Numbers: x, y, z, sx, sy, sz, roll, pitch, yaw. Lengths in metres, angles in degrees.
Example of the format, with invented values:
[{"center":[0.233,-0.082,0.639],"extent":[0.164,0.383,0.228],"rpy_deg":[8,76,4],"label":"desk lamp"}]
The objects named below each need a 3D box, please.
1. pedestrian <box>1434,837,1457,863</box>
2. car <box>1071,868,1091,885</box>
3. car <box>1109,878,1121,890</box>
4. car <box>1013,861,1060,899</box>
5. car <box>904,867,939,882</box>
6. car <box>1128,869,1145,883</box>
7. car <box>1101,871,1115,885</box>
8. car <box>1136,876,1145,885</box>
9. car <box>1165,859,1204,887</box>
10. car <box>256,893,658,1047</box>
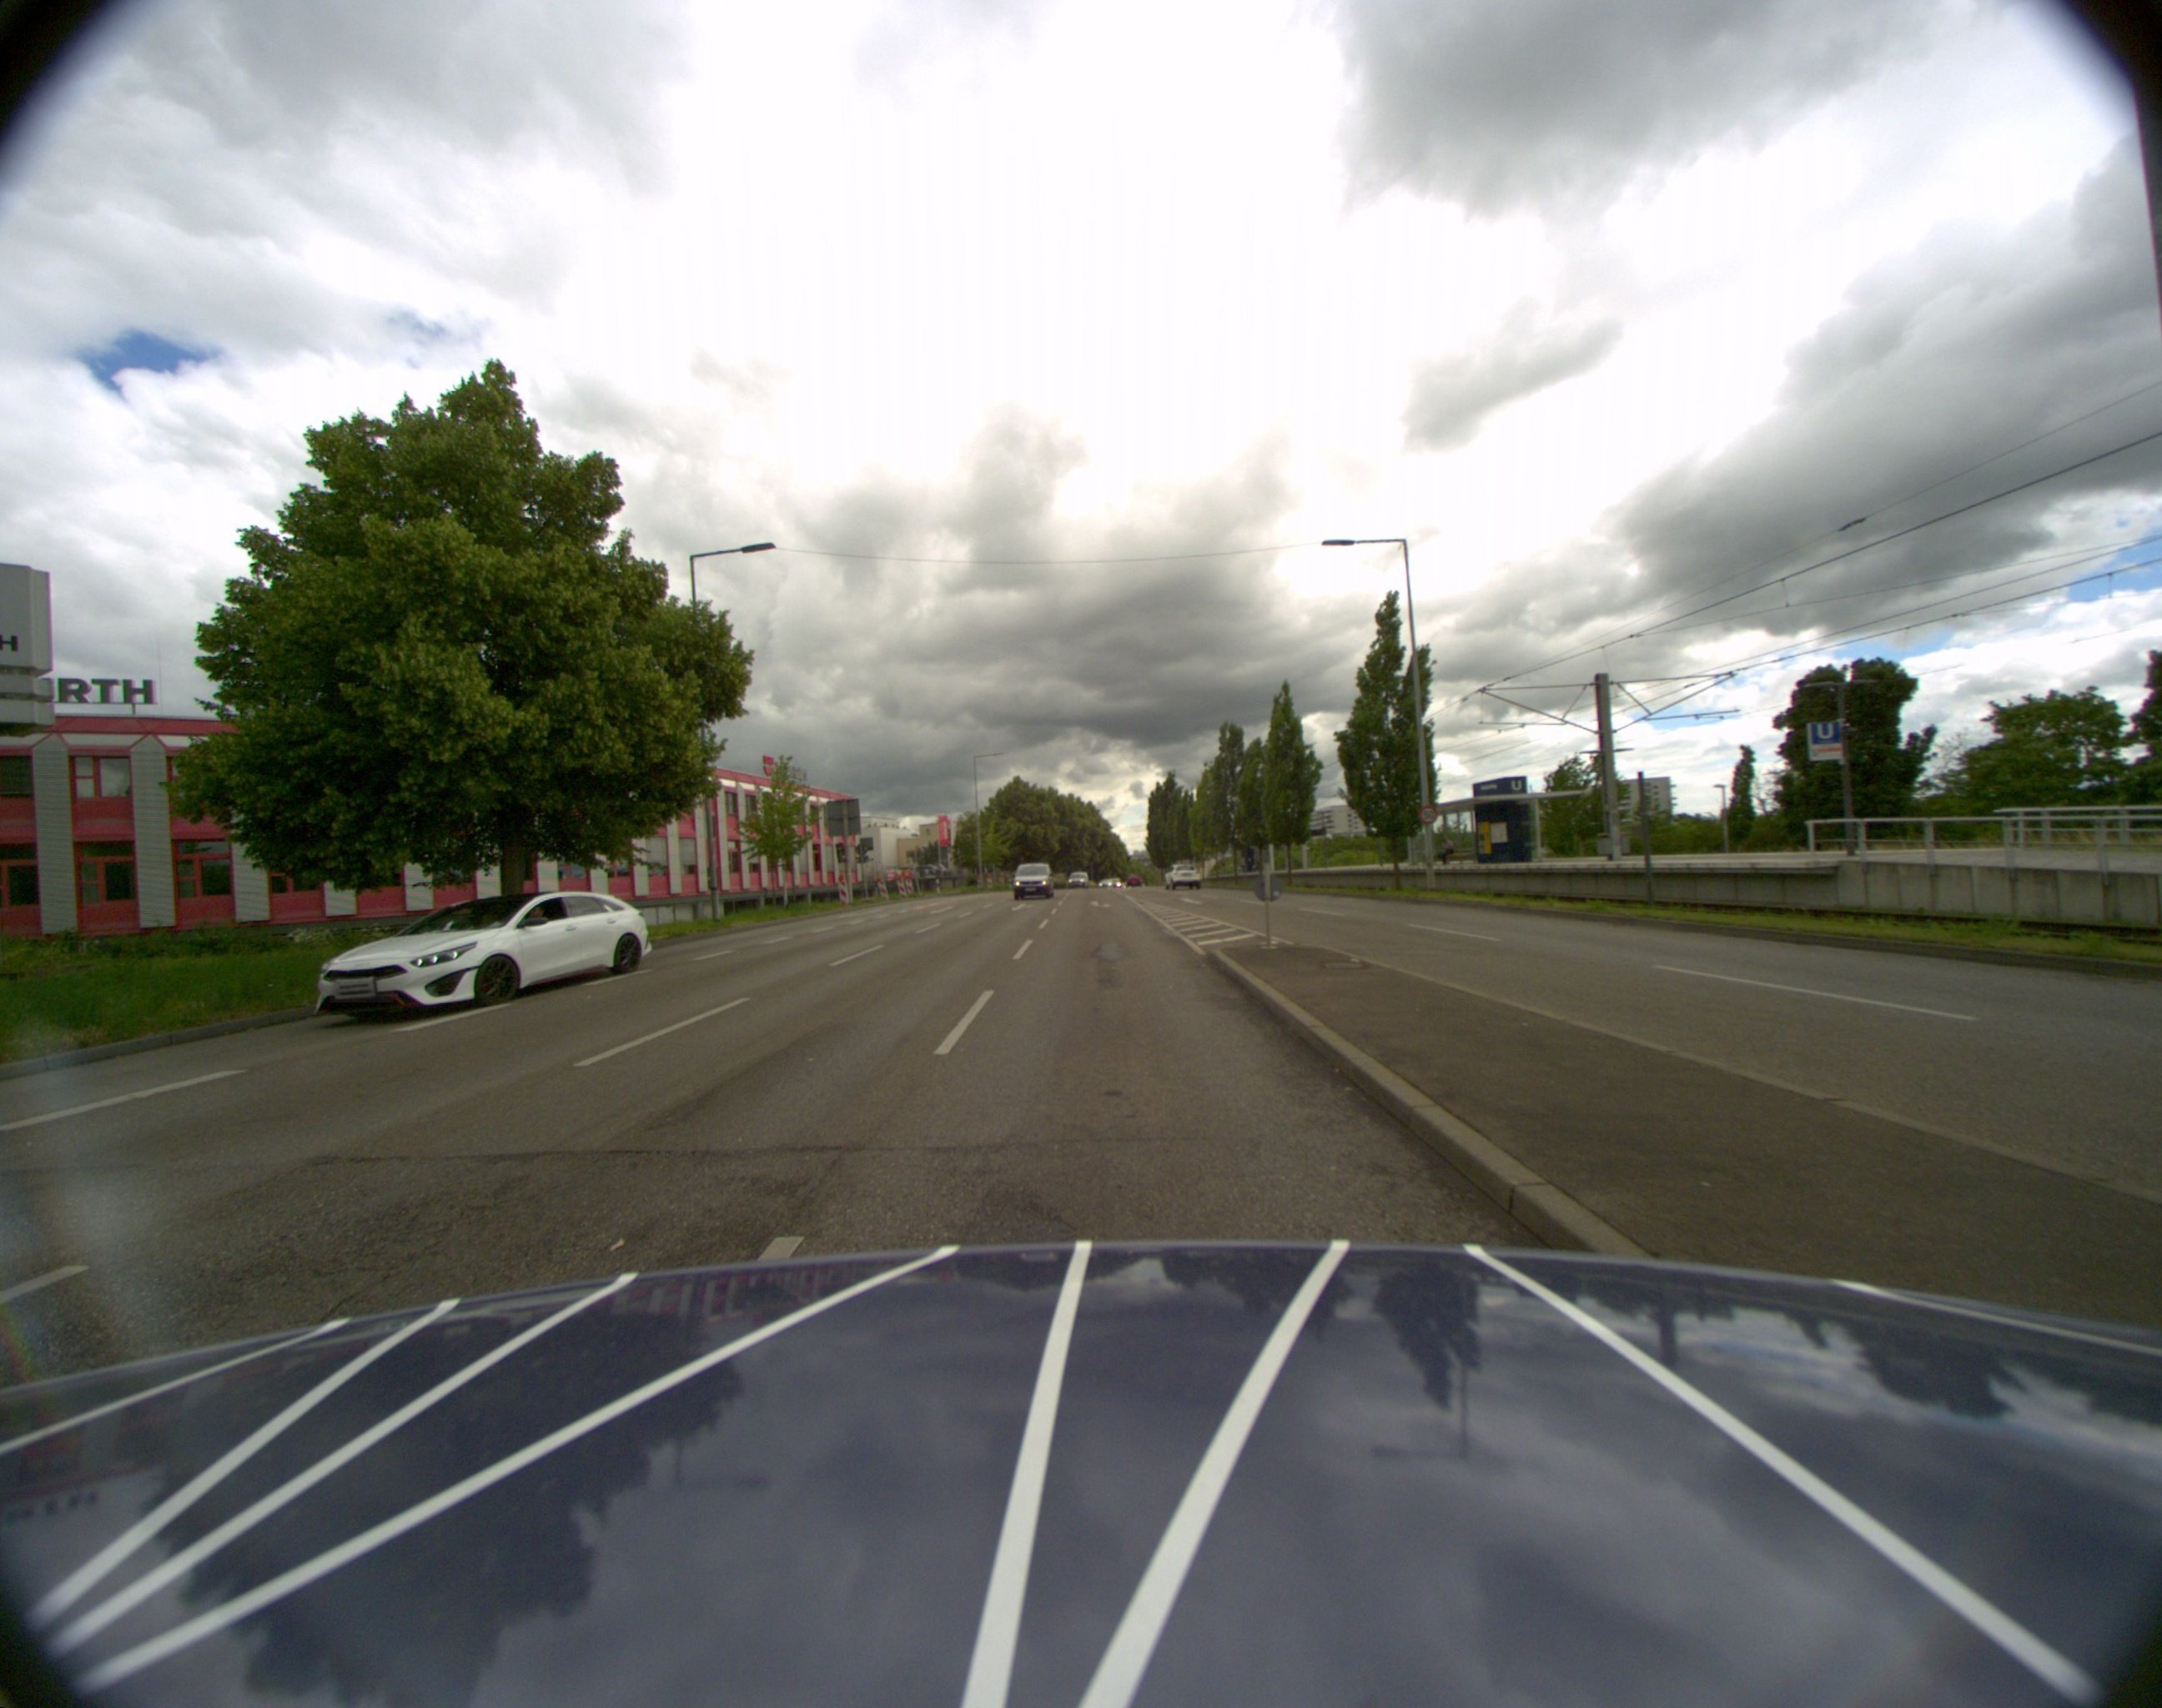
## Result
[{"center":[17.622,-0.179,36.731],"extent":[0.663,1.195,0.782],"rpy_deg":[-2,0,-7],"label":"pedestrian"},{"center":[-0.007,2.455,84.214],"extent":[1.984,1.744,4.253],"rpy_deg":[-2,0,3],"label":"car"},{"center":[5.521,4.786,122.150],"extent":[1.782,1.744,4.253],"rpy_deg":[-2,0,3],"label":"car"},{"center":[-2.209,1.297,39.032],"extent":[1.782,1.744,4.253],"rpy_deg":[-2,0,4],"label":"car"},{"center":[-21.213,2.676,101.005],"extent":[4.248,1.744,1.784],"rpy_deg":[-2,0,2],"label":"car"},{"center":[6.429,2.517,88.480],"extent":[1.785,1.434,4.426],"rpy_deg":[-3,-1,1],"label":"car"},{"center":[3.862,3.443,108.006],"extent":[1.782,1.744,4.253],"rpy_deg":[-2,0,3],"label":"car"},{"center":[11.666,5.146,148.620],"extent":[1.782,1.537,4.226],"rpy_deg":[-2,0,5],"label":"car"},{"center":[6.439,1.236,47.746],"extent":[1.833,1.618,4.428],"rpy_deg":[-2,-3,0],"label":"car"},{"center":[-8.165,1.402,10.663],"extent":[1.785,1.354,4.479],"rpy_deg":[-4,0,1],"label":"car"}]
